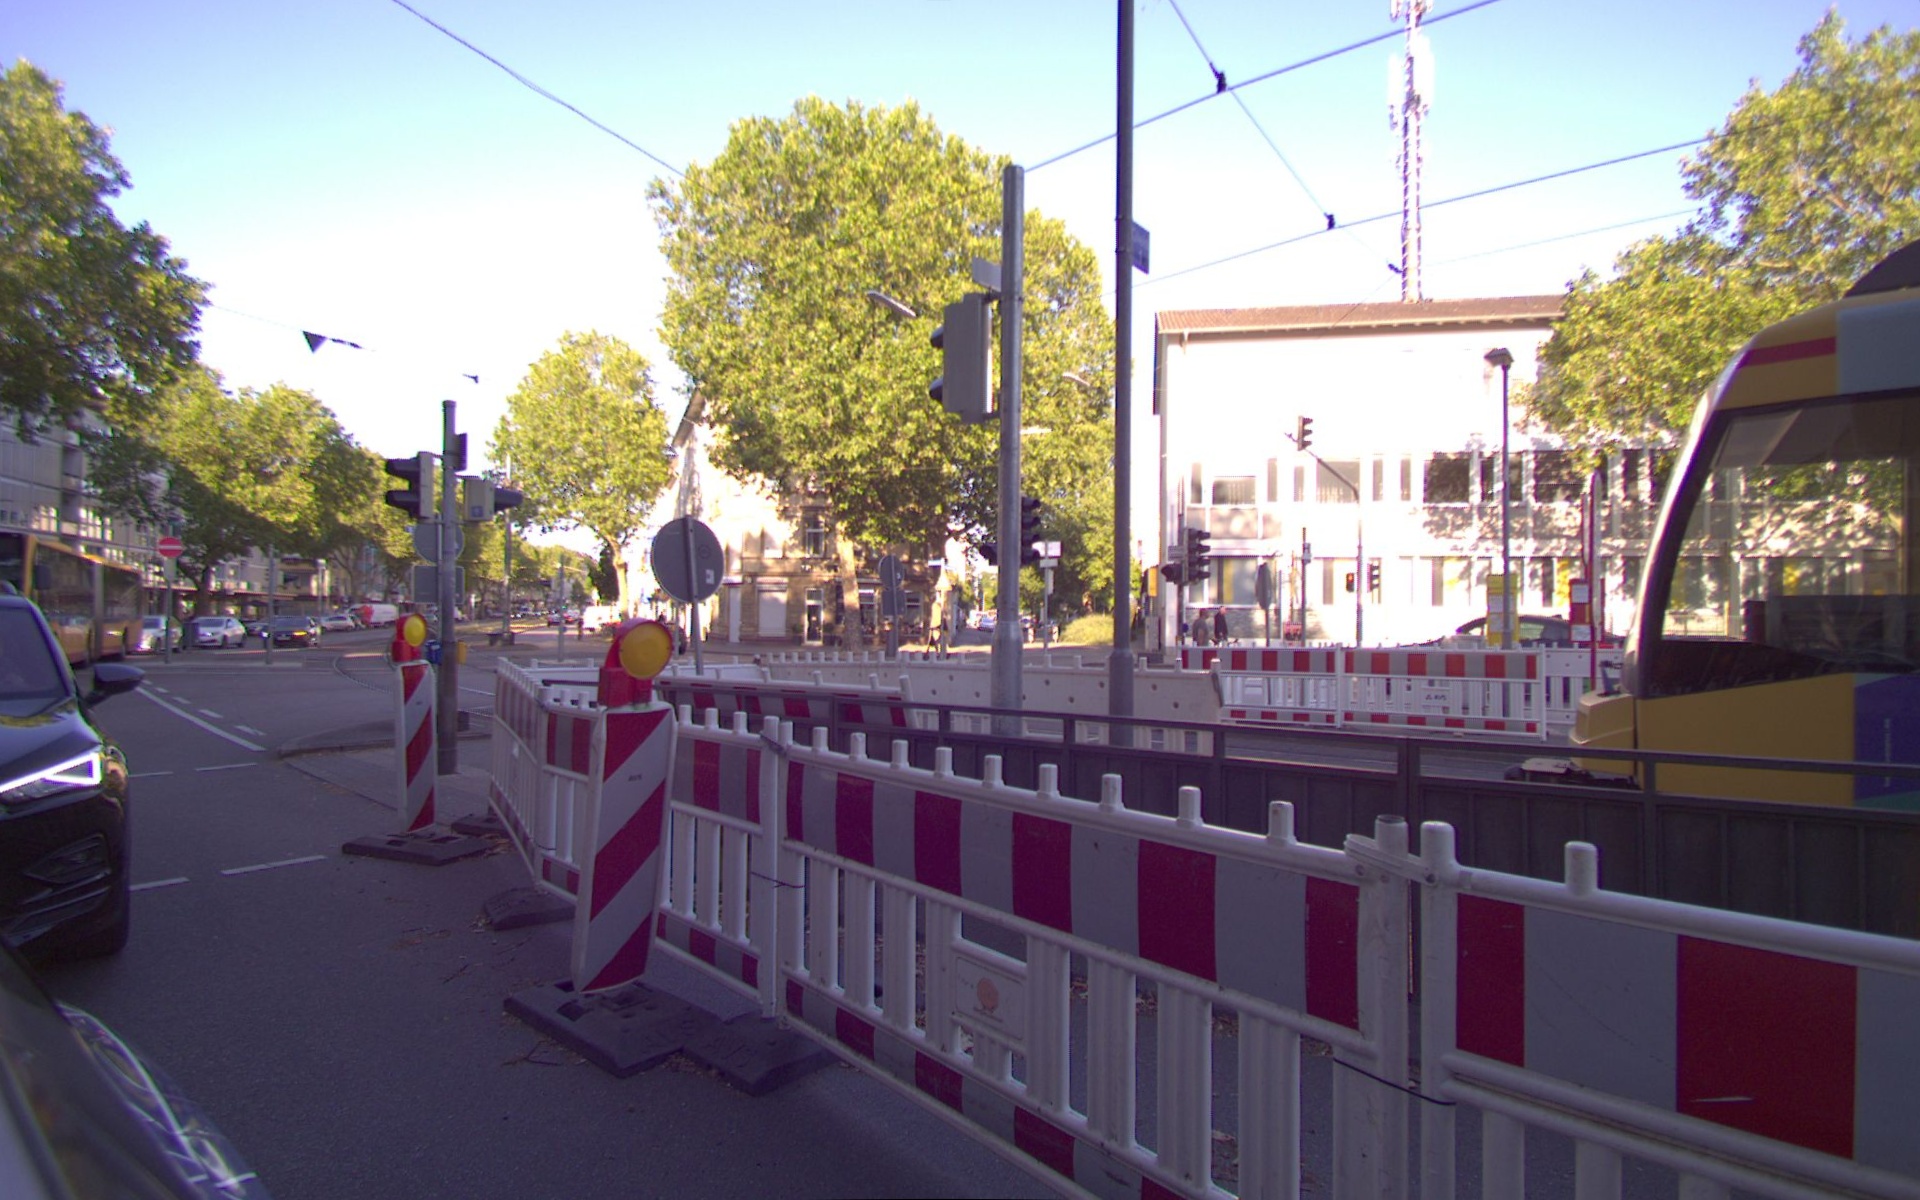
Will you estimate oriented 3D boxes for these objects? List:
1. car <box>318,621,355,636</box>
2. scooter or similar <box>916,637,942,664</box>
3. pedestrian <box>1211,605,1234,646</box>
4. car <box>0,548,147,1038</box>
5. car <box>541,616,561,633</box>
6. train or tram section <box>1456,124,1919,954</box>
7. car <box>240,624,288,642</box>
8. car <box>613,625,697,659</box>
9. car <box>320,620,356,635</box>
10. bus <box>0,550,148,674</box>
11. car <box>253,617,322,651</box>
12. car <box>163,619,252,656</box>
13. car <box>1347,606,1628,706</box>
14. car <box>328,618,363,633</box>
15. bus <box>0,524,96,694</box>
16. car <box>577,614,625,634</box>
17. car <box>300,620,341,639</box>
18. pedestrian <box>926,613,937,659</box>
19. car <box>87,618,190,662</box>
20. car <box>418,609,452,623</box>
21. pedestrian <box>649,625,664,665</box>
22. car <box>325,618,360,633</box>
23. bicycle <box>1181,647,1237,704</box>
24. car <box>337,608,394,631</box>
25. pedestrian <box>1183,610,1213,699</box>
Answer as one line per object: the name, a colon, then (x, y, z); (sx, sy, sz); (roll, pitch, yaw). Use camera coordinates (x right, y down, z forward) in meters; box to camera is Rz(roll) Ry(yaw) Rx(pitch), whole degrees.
car: (-54.926, 2.479, 89.169); (1.201, 1.290, 2.592); (0, -1, 43)
scooter or similar: (-1.185, 1.937, 38.929); (0.968, 1.047, 0.308); (0, -1, 0)
pedestrian: (8.715, 0.848, 33.617); (0.626, 1.367, 0.531); (-1, -2, 27)
car: (-5.165, 0.689, 4.594); (4.300, 1.670, 1.823); (-1, -1, 45)
car: (-47.246, 2.797, 116.936); (1.965, 1.881, 4.012); (1, -1, -19)
train or tram section: (7.602, -0.283, 3.440); (10.317, 3.514, 2.810); (-1, -1, 36)
car: (-50.900, 2.399, 74.023); (1.198, 1.226, 2.599); (0, -1, 34)
car: (-13.458, 1.805, 44.551); (4.002, 1.420, 1.858); (-1, -2, 45)
car: (-56.550, 2.491, 92.058); (1.201, 1.290, 2.592); (0, -1, 43)
bus: (-26.352, 0.378, 29.793); (2.708, 3.127, 9.523); (1, -2, -32)
car: (-31.659, 1.566, 47.776); (1.923, 1.486, 4.772); (1, -1, -24)
car: (-34.660, 1.700, 46.748); (1.923, 1.562, 4.771); (1, -1, -19)
car: (10.022, 0.989, 19.365); (4.576, 1.679, 1.878); (-1, 0, 35)
car: (-59.555, 2.464, 98.097); (1.201, 1.355, 2.592); (0, -1, 43)
bus: (-21.046, 0.222, 21.944); (2.710, 3.127, 9.519); (1, -2, -36)
car: (-34.235, 2.299, 96.543); (1.994, 1.929, 3.954); (-1, -2, 33)
car: (-52.361, 2.409, 82.915); (1.201, 1.484, 2.592); (0, -1, 43)
pedestrian: (-1.111, 1.387, 39.121); (0.414, 1.780, 0.354); (0, -1, -1)
car: (-30.657, 1.463, 37.916); (1.880, 1.486, 4.433); (1, -1, -24)
car: (-77.520, 2.414, 149.451); (1.874, 2.029, 3.956); (-1, -2, 32)
pedestrian: (-10.288, 1.520, 34.314); (0.359, 1.318, 0.403); (1, -2, -32)
car: (-58.150, 2.409, 95.265); (1.201, 1.399, 2.592); (0, -1, 43)
bicycle: (4.963, 1.501, 20.182); (1.086, 1.101, 0.243); (0, -2, 19)
car: (-61.620, 2.018, 104.993); (1.873, 2.394, 4.817); (0, -1, 30)
pedestrian: (4.671, 1.051, 19.848); (0.539, 1.710, 0.515); (0, -2, 18)
